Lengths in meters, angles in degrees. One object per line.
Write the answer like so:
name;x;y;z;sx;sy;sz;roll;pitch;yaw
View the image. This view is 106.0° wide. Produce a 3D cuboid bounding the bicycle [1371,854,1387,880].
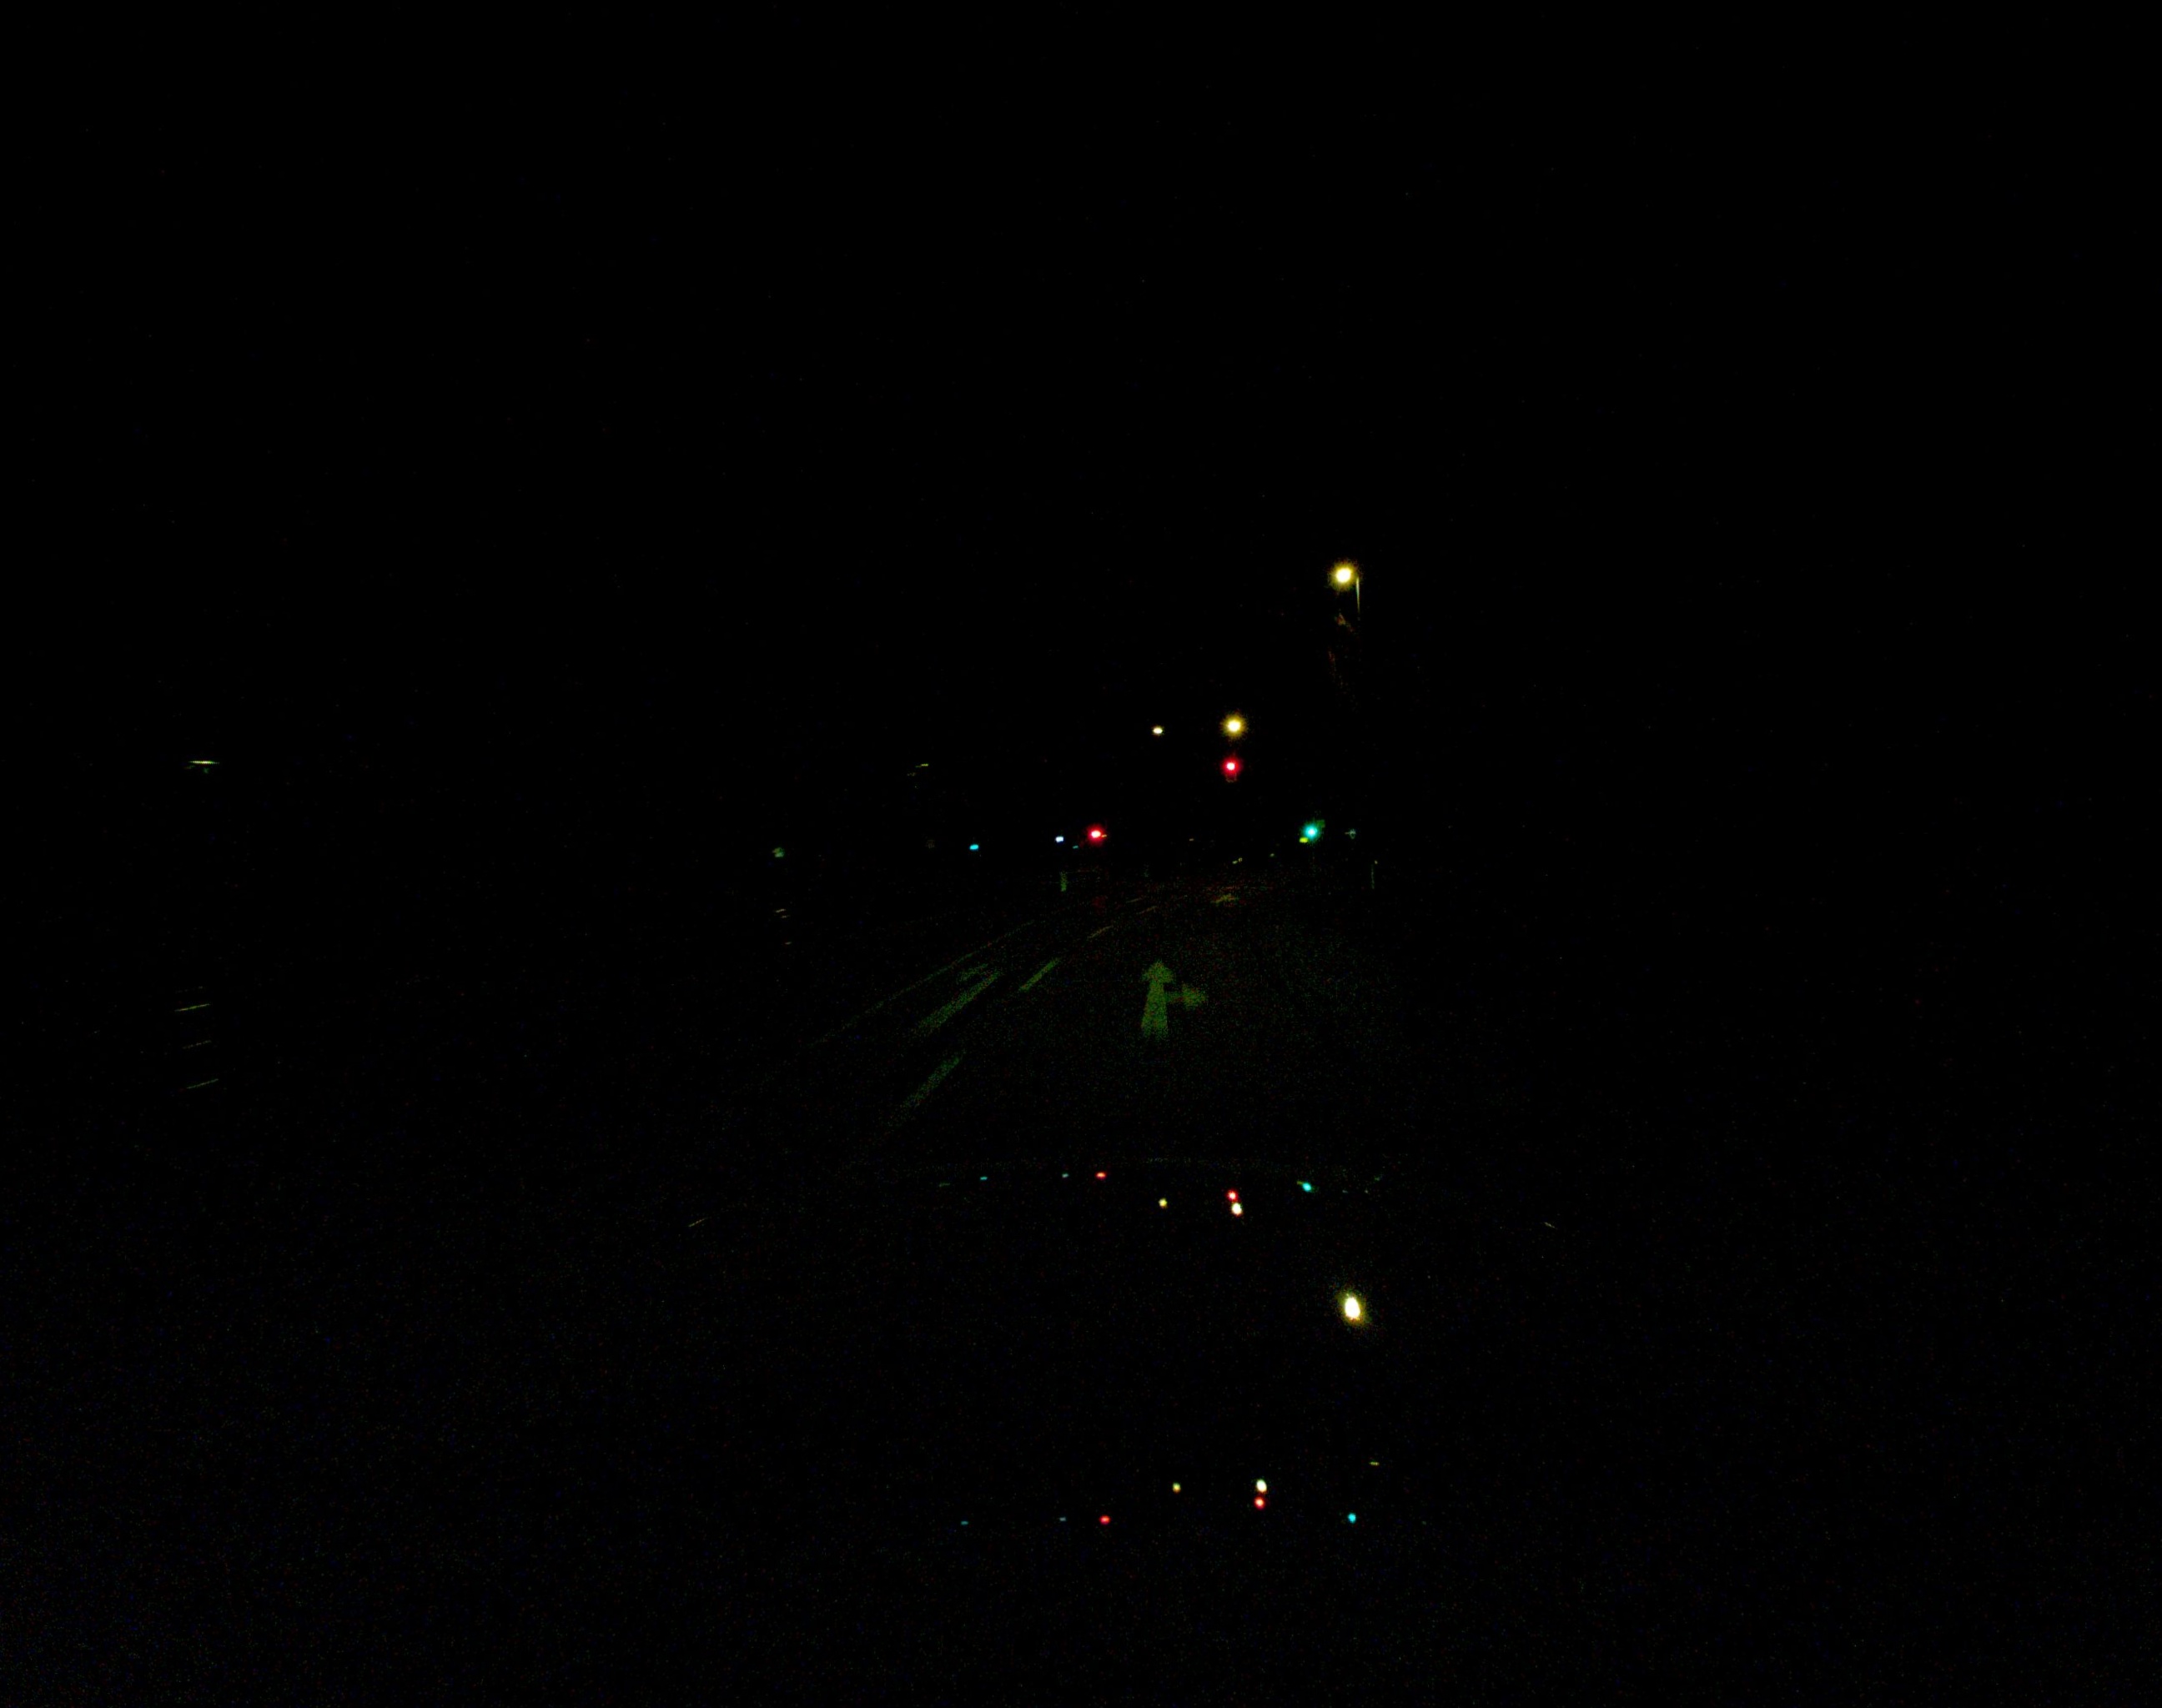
bicycle;12.038;0.556;32.914;0.293;0.982;1.951;-3;-3;13
